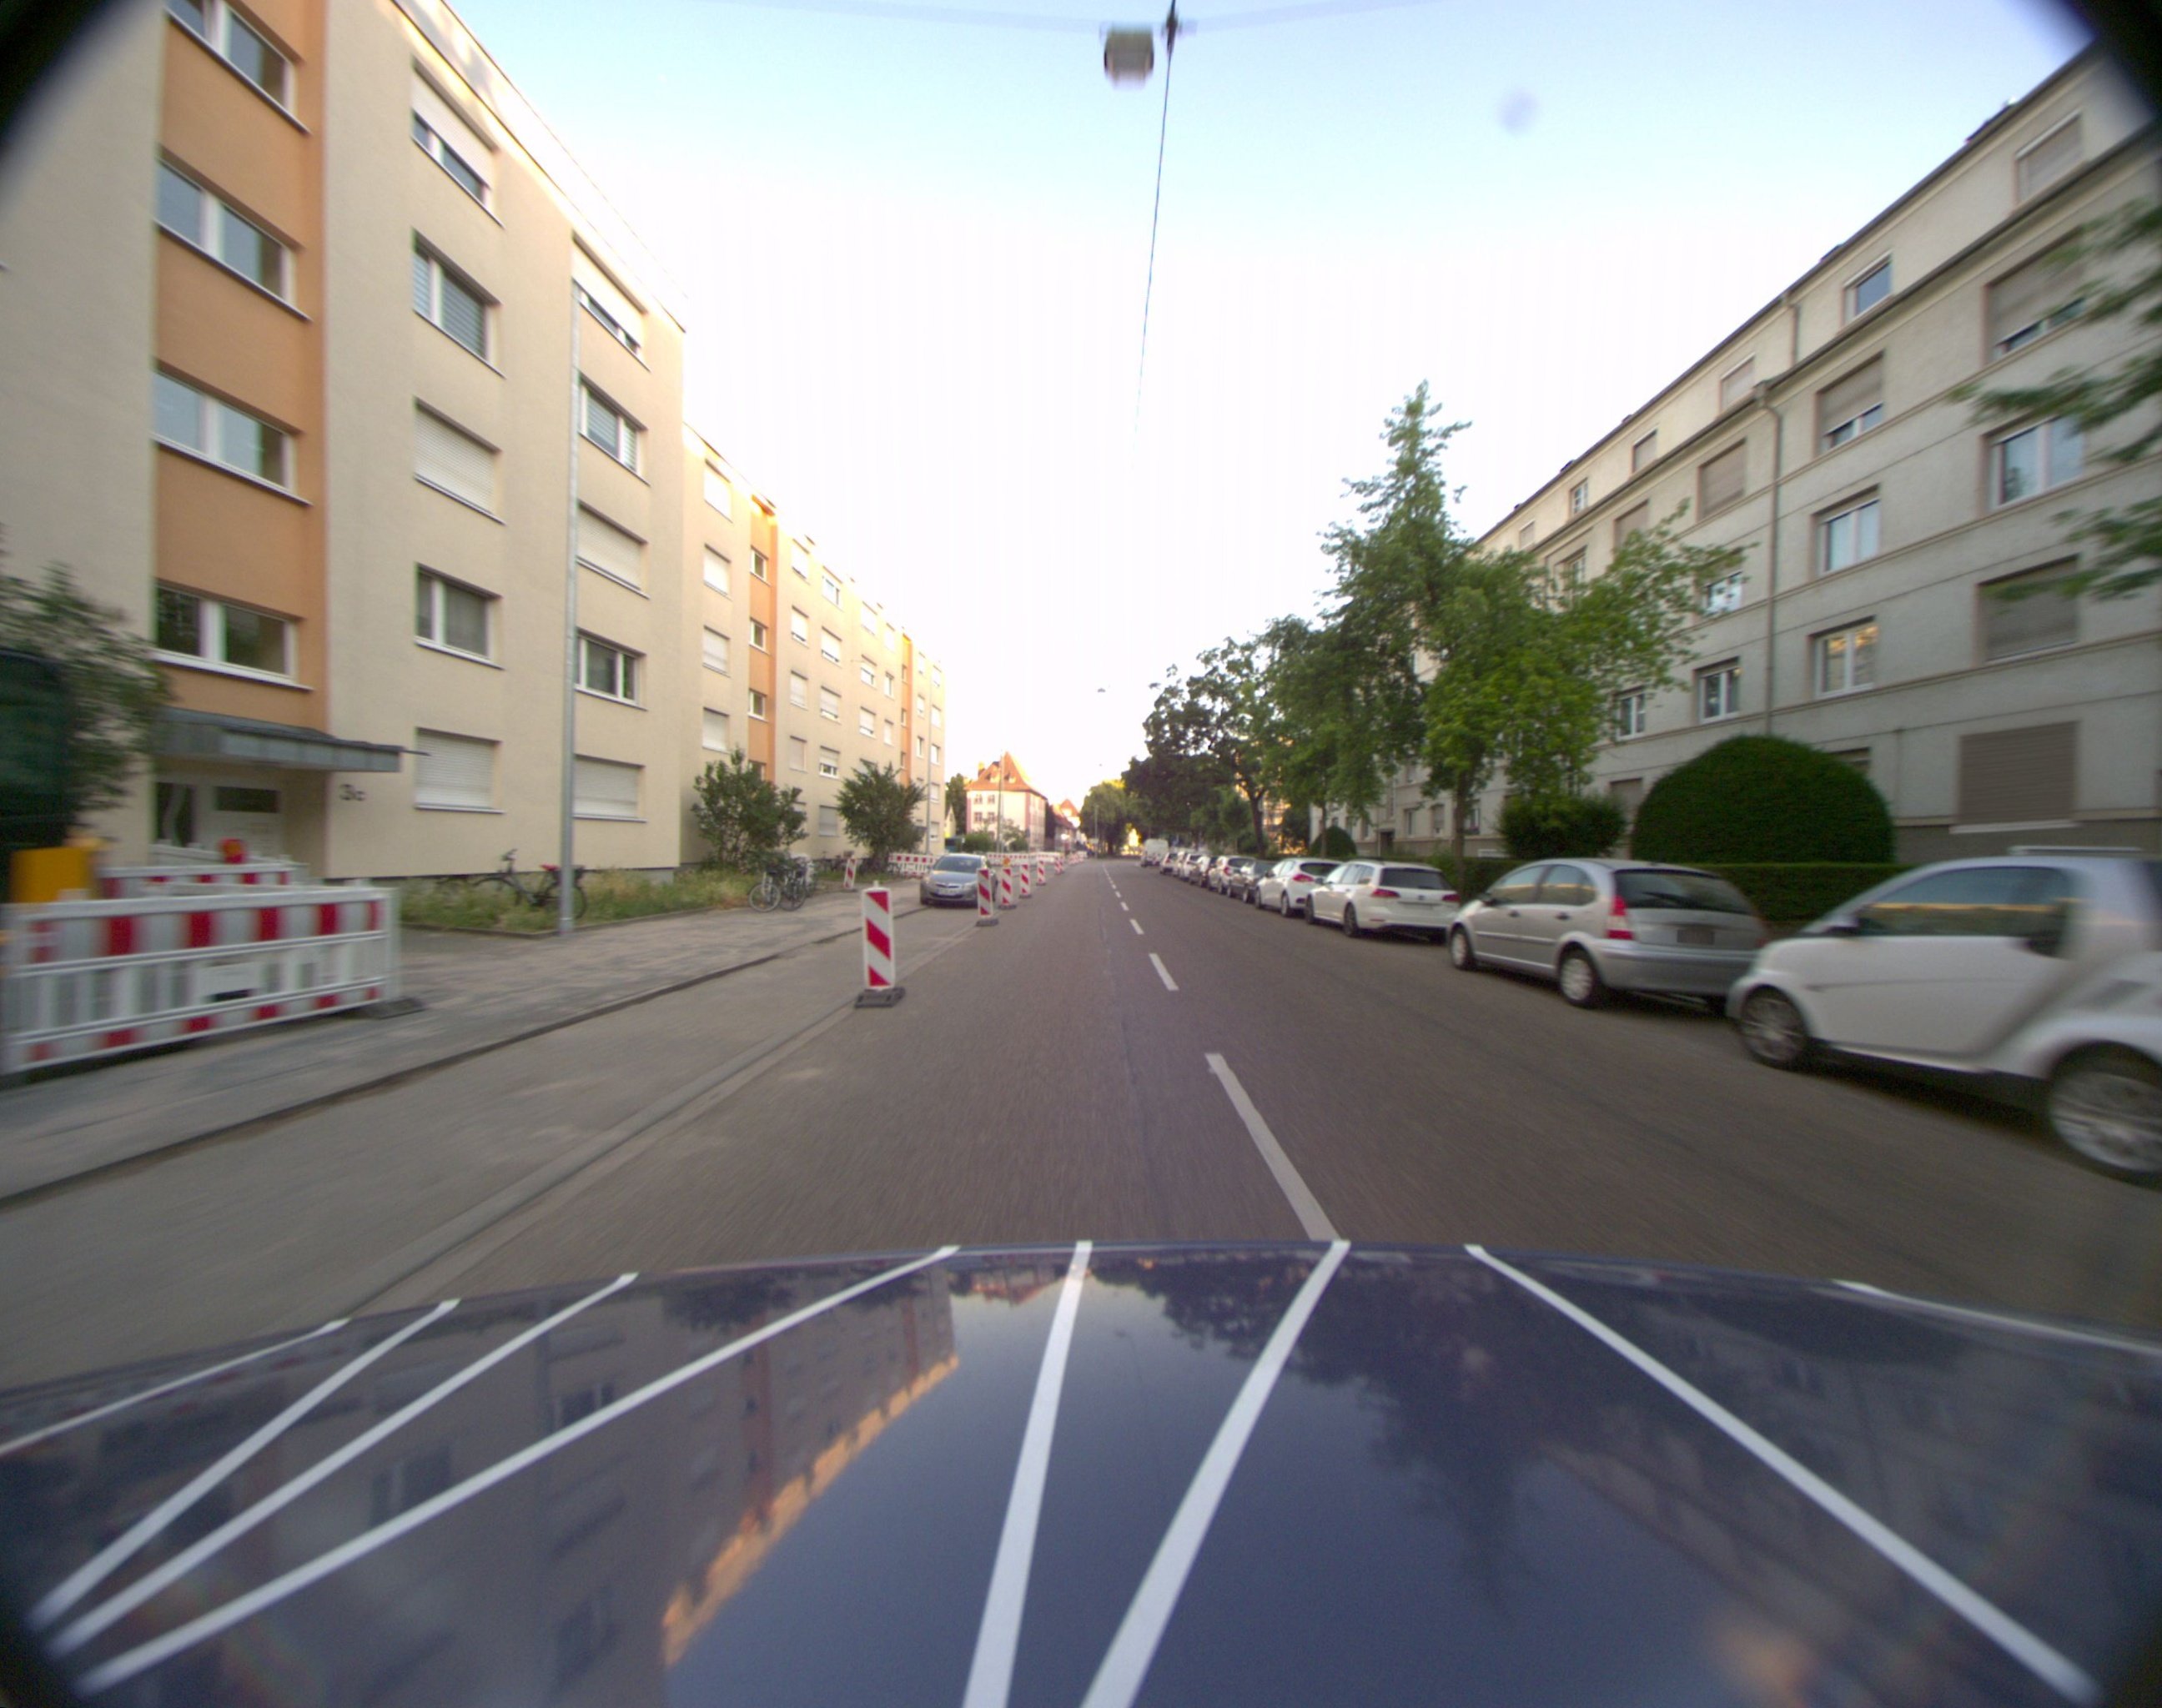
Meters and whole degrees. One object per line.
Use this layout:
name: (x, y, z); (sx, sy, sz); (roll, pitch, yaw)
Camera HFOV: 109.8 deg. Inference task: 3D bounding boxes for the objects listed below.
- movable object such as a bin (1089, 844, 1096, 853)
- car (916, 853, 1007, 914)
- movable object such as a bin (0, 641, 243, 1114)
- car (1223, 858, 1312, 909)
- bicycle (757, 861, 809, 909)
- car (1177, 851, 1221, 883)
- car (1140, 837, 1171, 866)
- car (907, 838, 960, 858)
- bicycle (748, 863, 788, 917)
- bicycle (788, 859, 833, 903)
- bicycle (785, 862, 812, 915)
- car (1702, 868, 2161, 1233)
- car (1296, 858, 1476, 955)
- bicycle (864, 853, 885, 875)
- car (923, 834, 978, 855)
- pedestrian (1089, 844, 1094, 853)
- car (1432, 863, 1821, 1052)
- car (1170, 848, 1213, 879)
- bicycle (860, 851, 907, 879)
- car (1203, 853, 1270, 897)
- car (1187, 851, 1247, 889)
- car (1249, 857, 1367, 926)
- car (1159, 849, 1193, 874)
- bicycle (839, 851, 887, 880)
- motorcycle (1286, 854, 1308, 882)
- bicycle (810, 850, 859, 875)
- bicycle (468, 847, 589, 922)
movable object such as a bin: (1.958, -0.948, 129.651); (0.977, 1.600, 0.634); (0, 1, -4)
car: (-3.478, 0.805, 22.910); (1.780, 1.482, 4.573); (4, 1, 2)
movable object such as a bin: (-7.113, 0.132, 4.081); (1.937, 2.677, 2.892); (1, 1, 6)
car: (5.926, 0.886, 24.702); (1.678, 1.324, 4.579); (3, 1, 0)
bicycle: (-7.739, 0.784, 19.812); (0.557, 1.165, 1.817); (0, 1, 4)
car: (6.132, 0.629, 39.879); (1.756, 1.471, 3.944); (3, 1, 2)
car: (6.760, -0.259, 69.199); (2.184, 2.447, 6.102); (3, 1, 1)
car: (-13.985, -0.557, 72.204); (4.489, 1.800, 2.005); (1, 1, 3)
bicycle: (-7.303, 0.806, 17.776); (0.628, 1.165, 1.814); (0, 1, -15)
bicycle: (-7.754, 0.753, 21.860); (0.557, 1.165, 1.817); (0, 1, 4)
bicycle: (-6.774, 0.789, 18.269); (0.558, 1.165, 1.813); (0, 1, -19)
car: (5.608, 0.930, 4.414); (1.593, 1.520, 2.921); (3, 1, 3)
car: (5.720, 0.891, 14.919); (1.696, 1.451, 4.483); (3, 1, 1)
bicycle: (-9.301, 0.440, 34.215); (0.559, 0.860, 1.610); (4, 2, -27)
car: (-13.221, -0.945, 77.156); (5.029, 2.117, 2.291); (0, 1, 9)
pedestrian: (1.752, -0.931, 128.810); (0.716, 1.600, 0.518); (0, 1, -4)
car: (5.676, 0.933, 8.586); (1.594, 1.496, 3.799); (3, 1, 1)
car: (6.400, 0.504, 44.446); (1.757, 1.622, 4.106); (3, 1, 0)
bicycle: (-8.552, 0.467, 32.916); (1.815, 1.017, 0.558); (5, 2, 2)
car: (5.964, 0.753, 29.494); (1.679, 1.451, 3.704); (3, 1, -2)
car: (6.065, 0.686, 34.499); (1.757, 1.471, 4.677); (3, 1, -1)
car: (5.713, 0.879, 19.665); (1.696, 1.451, 4.144); (3, 1, -1)
car: (6.185, 0.472, 49.896); (1.756, 1.463, 4.224); (3, 1, 2)
bicycle: (-8.954, 0.460, 31.187); (1.755, 0.981, 0.558); (6, 2, 10)
motorcycle: (10.594, 0.668, 37.328); (0.588, 1.317, 1.828); (1, 1, 1)
bicycle: (-10.430, 0.372, 32.160); (1.821, 0.916, 0.556); (4, 2, -40)
bicycle: (-9.199, 0.495, 12.693); (1.597, 1.215, 0.485); (0, 1, -5)
